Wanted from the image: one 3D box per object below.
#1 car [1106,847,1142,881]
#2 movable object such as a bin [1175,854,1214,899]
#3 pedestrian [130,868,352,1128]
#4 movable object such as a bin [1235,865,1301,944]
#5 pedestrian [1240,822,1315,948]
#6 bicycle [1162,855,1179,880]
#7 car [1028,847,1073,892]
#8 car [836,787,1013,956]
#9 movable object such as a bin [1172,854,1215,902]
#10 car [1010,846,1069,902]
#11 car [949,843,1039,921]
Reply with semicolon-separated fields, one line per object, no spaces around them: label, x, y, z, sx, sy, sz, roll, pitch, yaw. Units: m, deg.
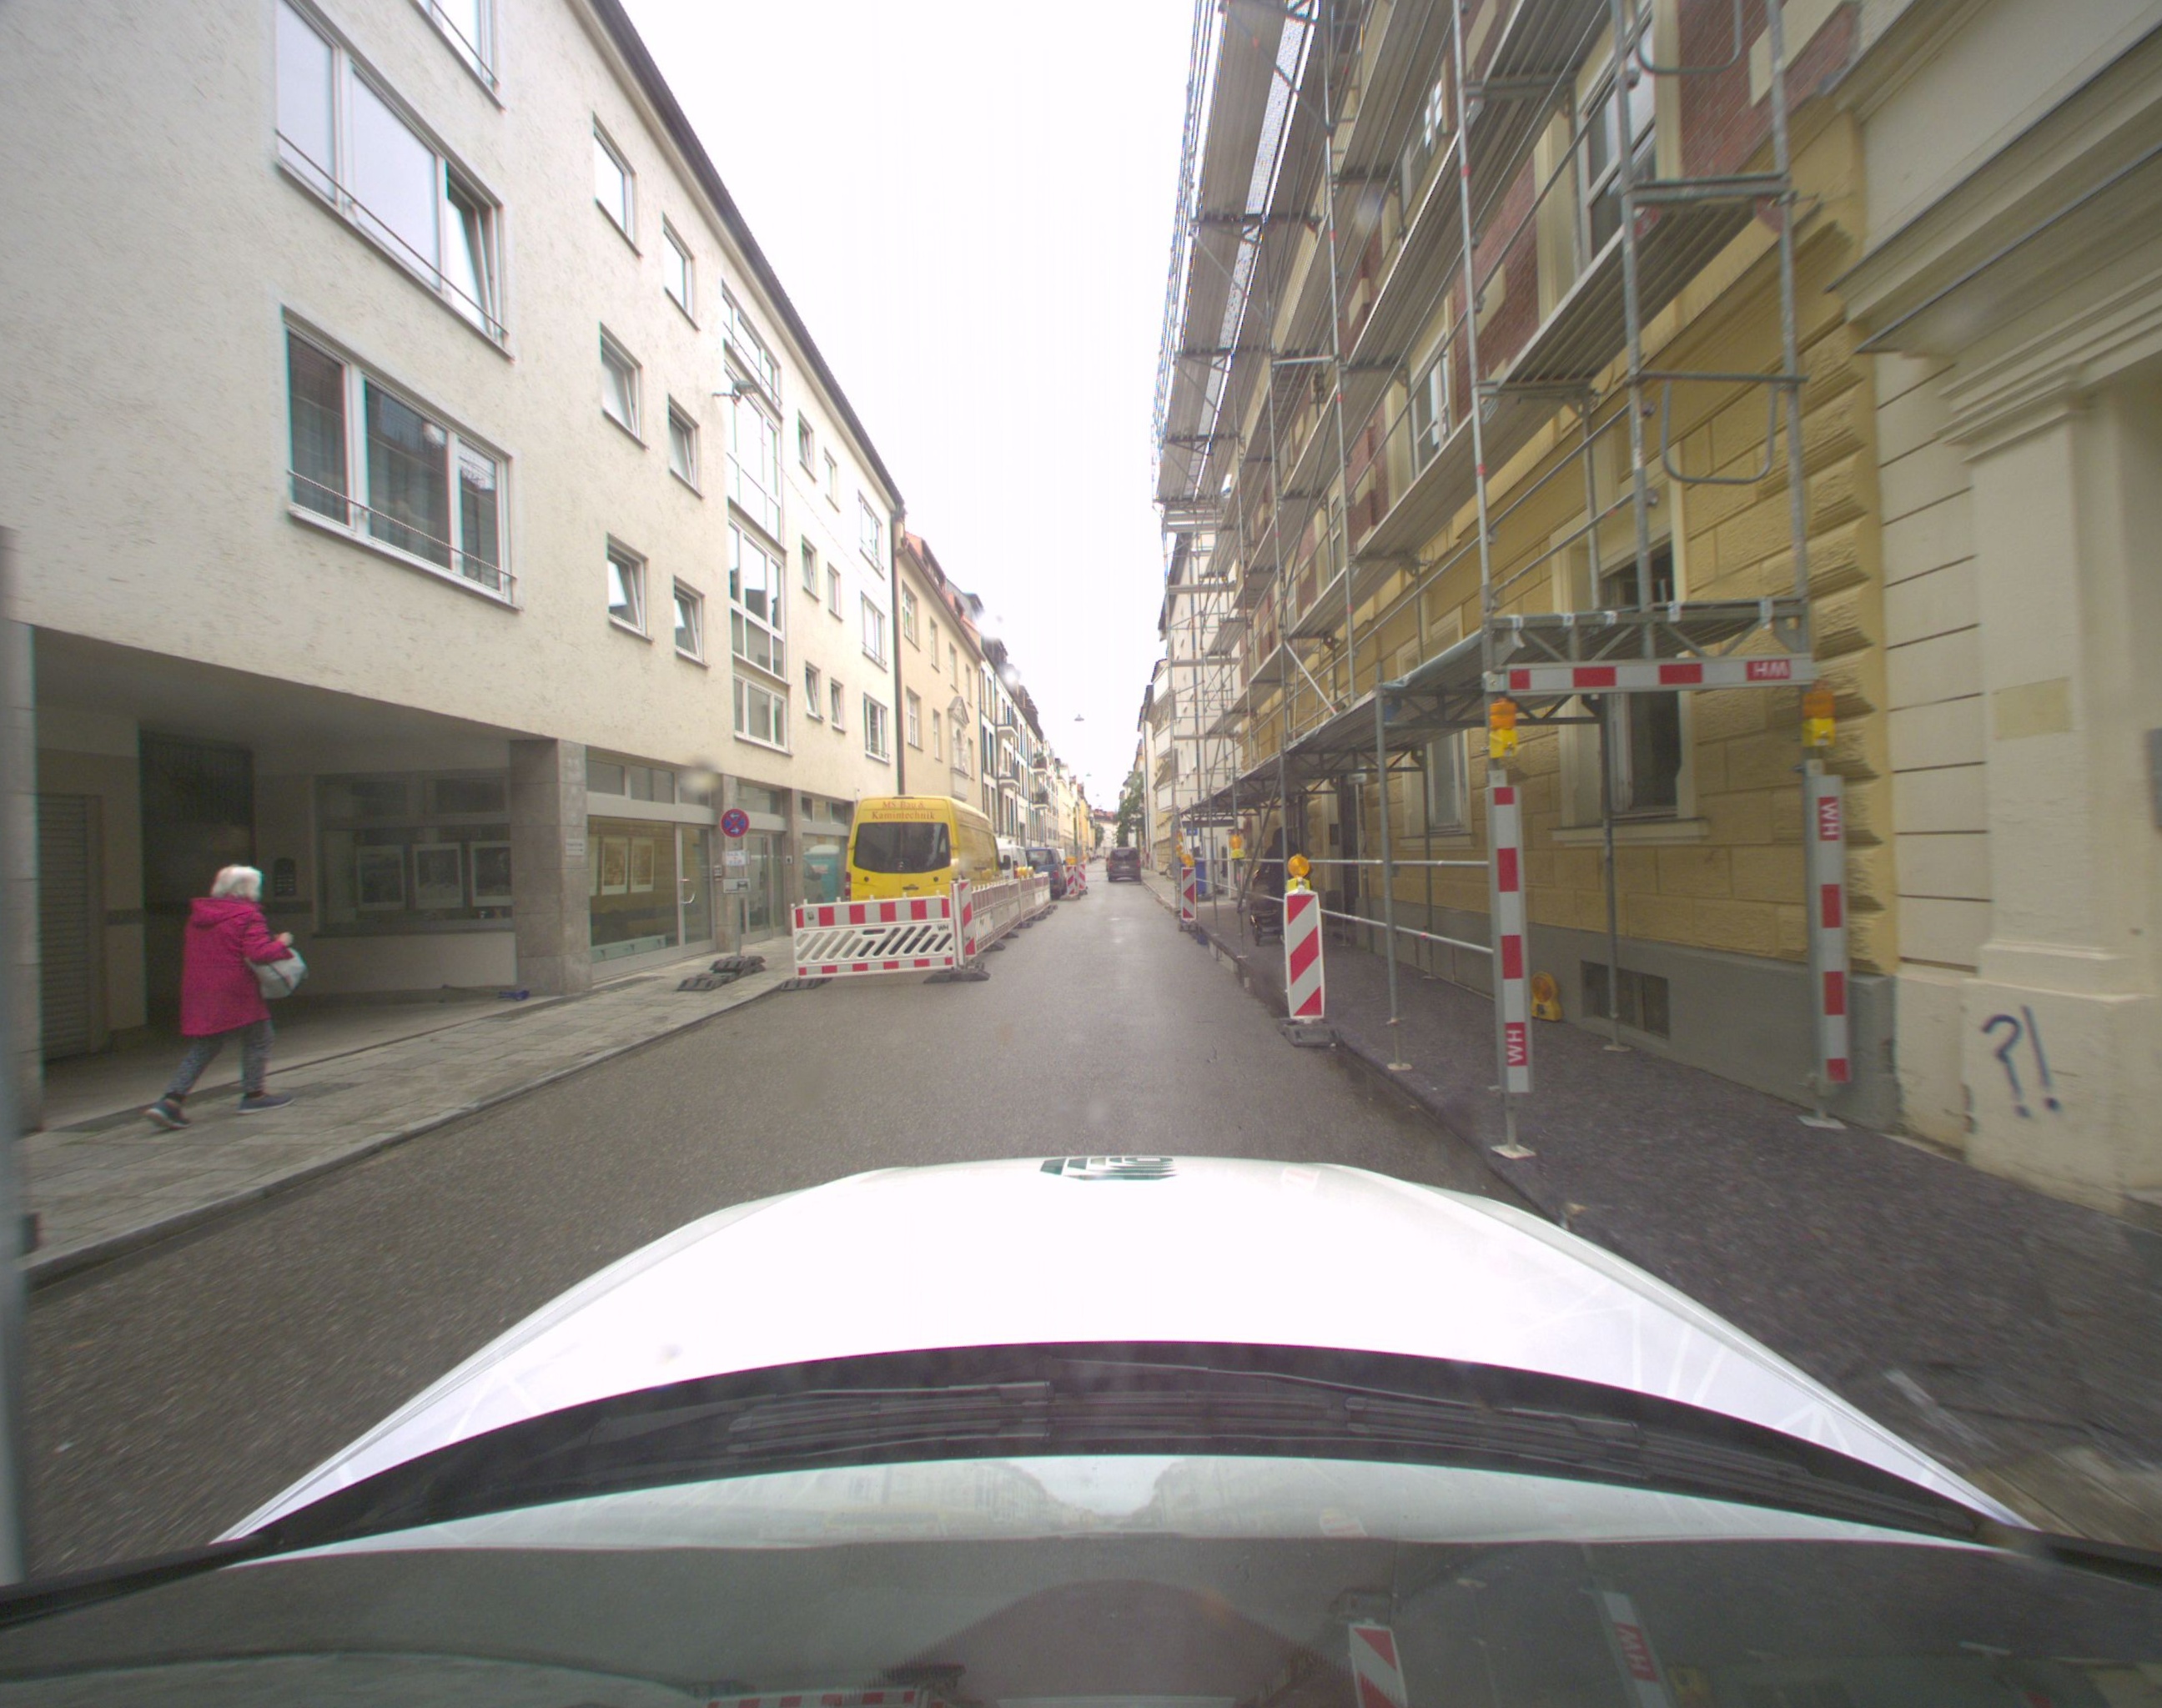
car;2.511;0.567;48.224;1.986;1.932;4.661;-1;0;1
movable object such as a bin;3.791;0.726;27.046;1.119;1.345;1.174;-6;-1;10
pedestrian;-5.345;0.864;5.230;0.635;1.532;0.748;0;0;4
movable object such as a bin;2.982;0.784;13.068;0.727;1.141;0.988;-6;0;1
pedestrian;2.941;0.447;12.283;0.727;1.752;0.988;-6;-1;1
bicycle;4.516;0.688;41.315;0.635;1.153;1.916;-5;0;3
car;-1.363;0.699;37.879;1.899;1.897;5.086;-2;0;-1
car;-2.771;0.288;16.321;1.986;2.578;6.738;-3;0;1
movable object such as a bin;3.588;0.746;25.812;1.078;1.346;1.322;-5;0;14
car;-1.519;0.716;31.875;1.721;1.897;5.511;-4;0;2
car;-2.402;0.747;23.686;1.911;1.897;4.791;-4;0;1
